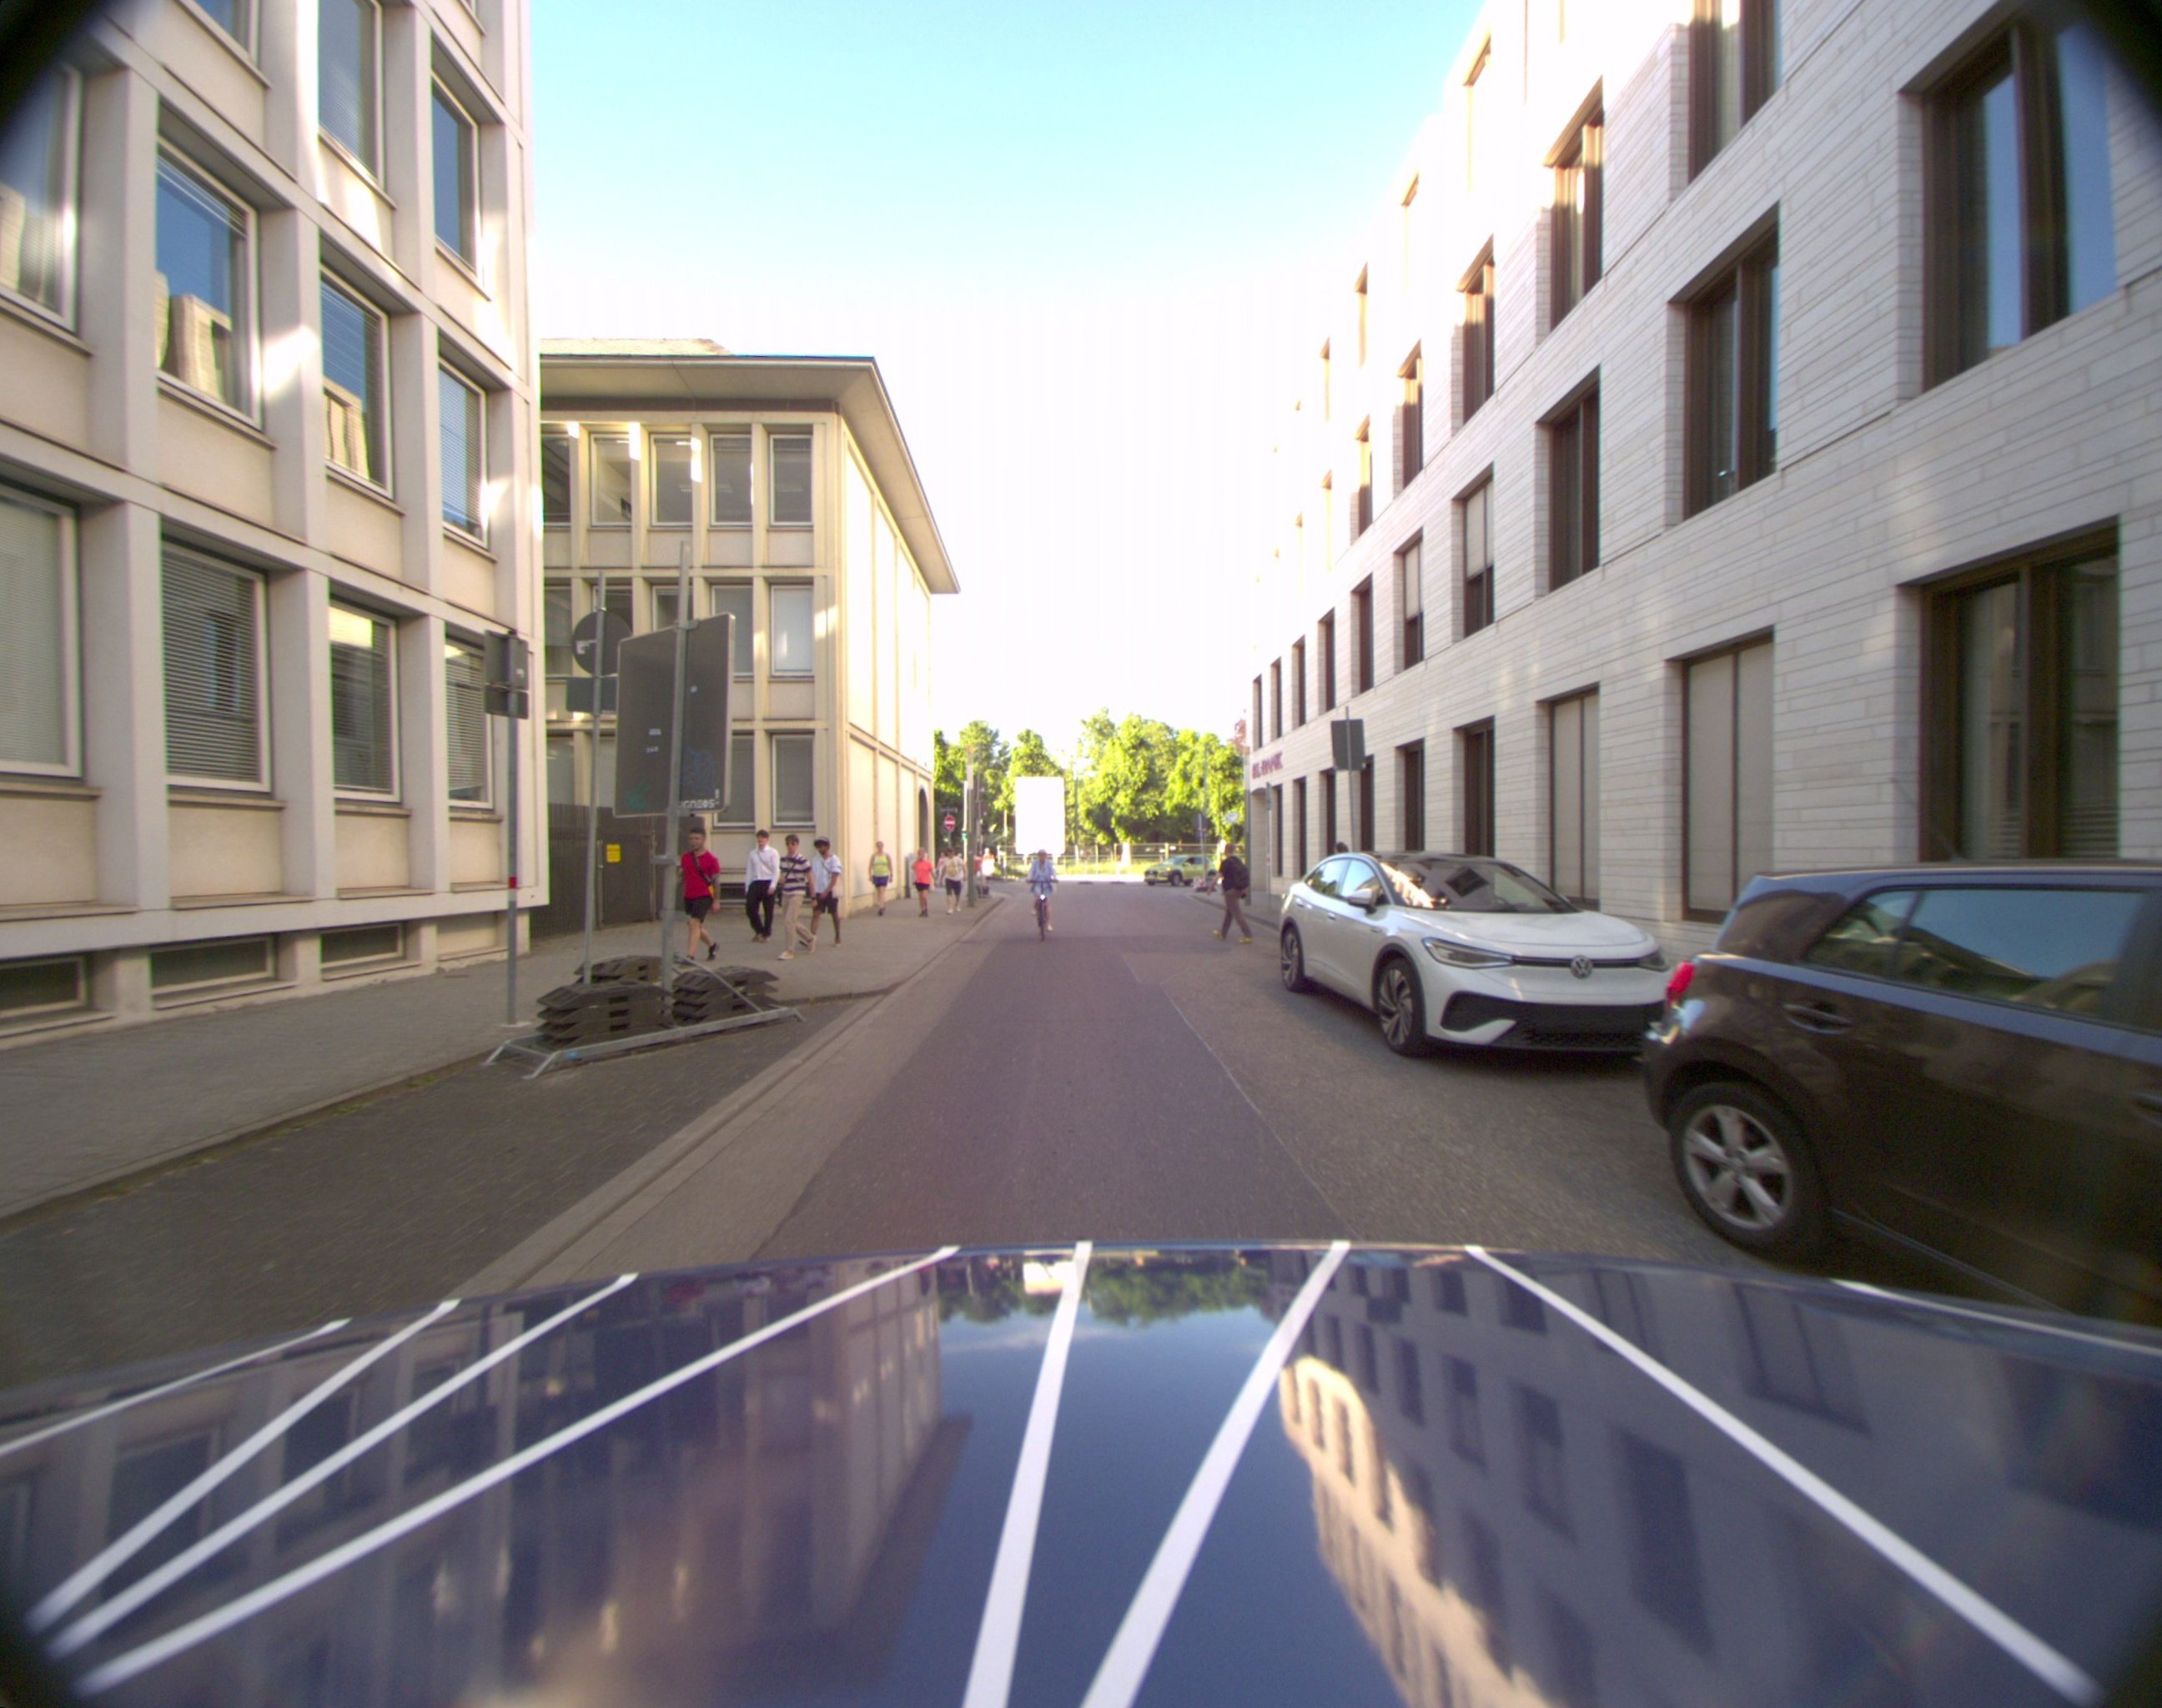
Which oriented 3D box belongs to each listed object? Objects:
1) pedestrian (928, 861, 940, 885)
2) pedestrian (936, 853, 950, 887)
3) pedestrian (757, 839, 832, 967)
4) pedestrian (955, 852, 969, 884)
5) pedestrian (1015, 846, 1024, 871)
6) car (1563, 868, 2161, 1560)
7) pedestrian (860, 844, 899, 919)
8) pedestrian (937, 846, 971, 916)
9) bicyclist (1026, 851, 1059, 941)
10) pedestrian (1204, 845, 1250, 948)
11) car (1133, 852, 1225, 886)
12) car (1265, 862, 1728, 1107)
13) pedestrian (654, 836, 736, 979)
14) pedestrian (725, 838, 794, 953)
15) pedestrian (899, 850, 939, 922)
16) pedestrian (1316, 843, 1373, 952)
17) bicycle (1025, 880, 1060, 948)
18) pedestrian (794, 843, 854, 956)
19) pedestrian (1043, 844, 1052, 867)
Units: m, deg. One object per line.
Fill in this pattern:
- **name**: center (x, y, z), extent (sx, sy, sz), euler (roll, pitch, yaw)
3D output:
- **pedestrian**: center (-7.506, 0.983, 38.900), extent (0.535, 1.170, 0.622), euler (-2, 2, -7)
- **pedestrian**: center (-6.957, 0.798, 38.243), extent (0.626, 1.633, 0.622), euler (-2, 2, -7)
- **pedestrian**: center (-4.187, 0.694, 11.137), extent (0.685, 1.768, 0.693), euler (5, 1, 1)
- **pedestrian**: center (-6.138, 0.728, 39.244), extent (0.626, 1.604, 0.622), euler (-2, 2, -7)
- **pedestrian**: center (-4.493, 0.323, 55.551), extent (0.626, 1.773, 0.622), euler (-2, 2, -7)
- **car**: center (3.397, 0.850, 1.704), extent (1.827, 1.532, 4.263), euler (-1, 0, -2)
- **pedestrian**: center (-4.738, 0.637, 17.899), extent (0.685, 1.706, 0.693), euler (2, 1, 1)
- **pedestrian**: center (-3.202, 0.669, 19.233), extent (0.685, 1.706, 0.693), euler (2, 1, 1)
- **bicyclist**: center (-0.742, 0.794, 14.708), extent (0.586, 1.679, 0.538), euler (-1, 2, -2)
- **pedestrian**: center (2.596, 0.749, 13.582), extent (0.643, 1.779, 0.575), euler (2, 2, -1)
- **car**: center (4.952, 0.697, 38.039), extent (4.444, 1.451, 1.994), euler (-2, 2, -38)
- **car**: center (3.225, 0.867, 7.130), extent (1.827, 1.532, 4.446), euler (1, 0, -1)
- **pedestrian**: center (-5.002, 0.678, 9.865), extent (0.685, 1.768, 0.593), euler (3, 1, 1)
- **pedestrian**: center (-5.261, 0.660, 12.460), extent (0.685, 1.768, 0.693), euler (5, 1, 1)
- **pedestrian**: center (-3.802, 0.734, 17.921), extent (0.685, 1.627, 0.693), euler (4, 1, 1)
- **pedestrian**: center (4.440, 0.707, 12.833), extent (0.645, 1.780, 0.816), euler (-1, 2, -1)
- **bicycle**: center (-0.745, 1.112, 14.708), extent (0.595, 1.077, 2.309), euler (-1, 1, -3)
- **pedestrian**: center (-4.170, 0.716, 12.368), extent (0.685, 1.768, 0.693), euler (1, 1, 1)
- **pedestrian**: center (-2.562, 0.119, 58.418), extent (0.623, 1.773, 0.626), euler (-2, 2, -7)
